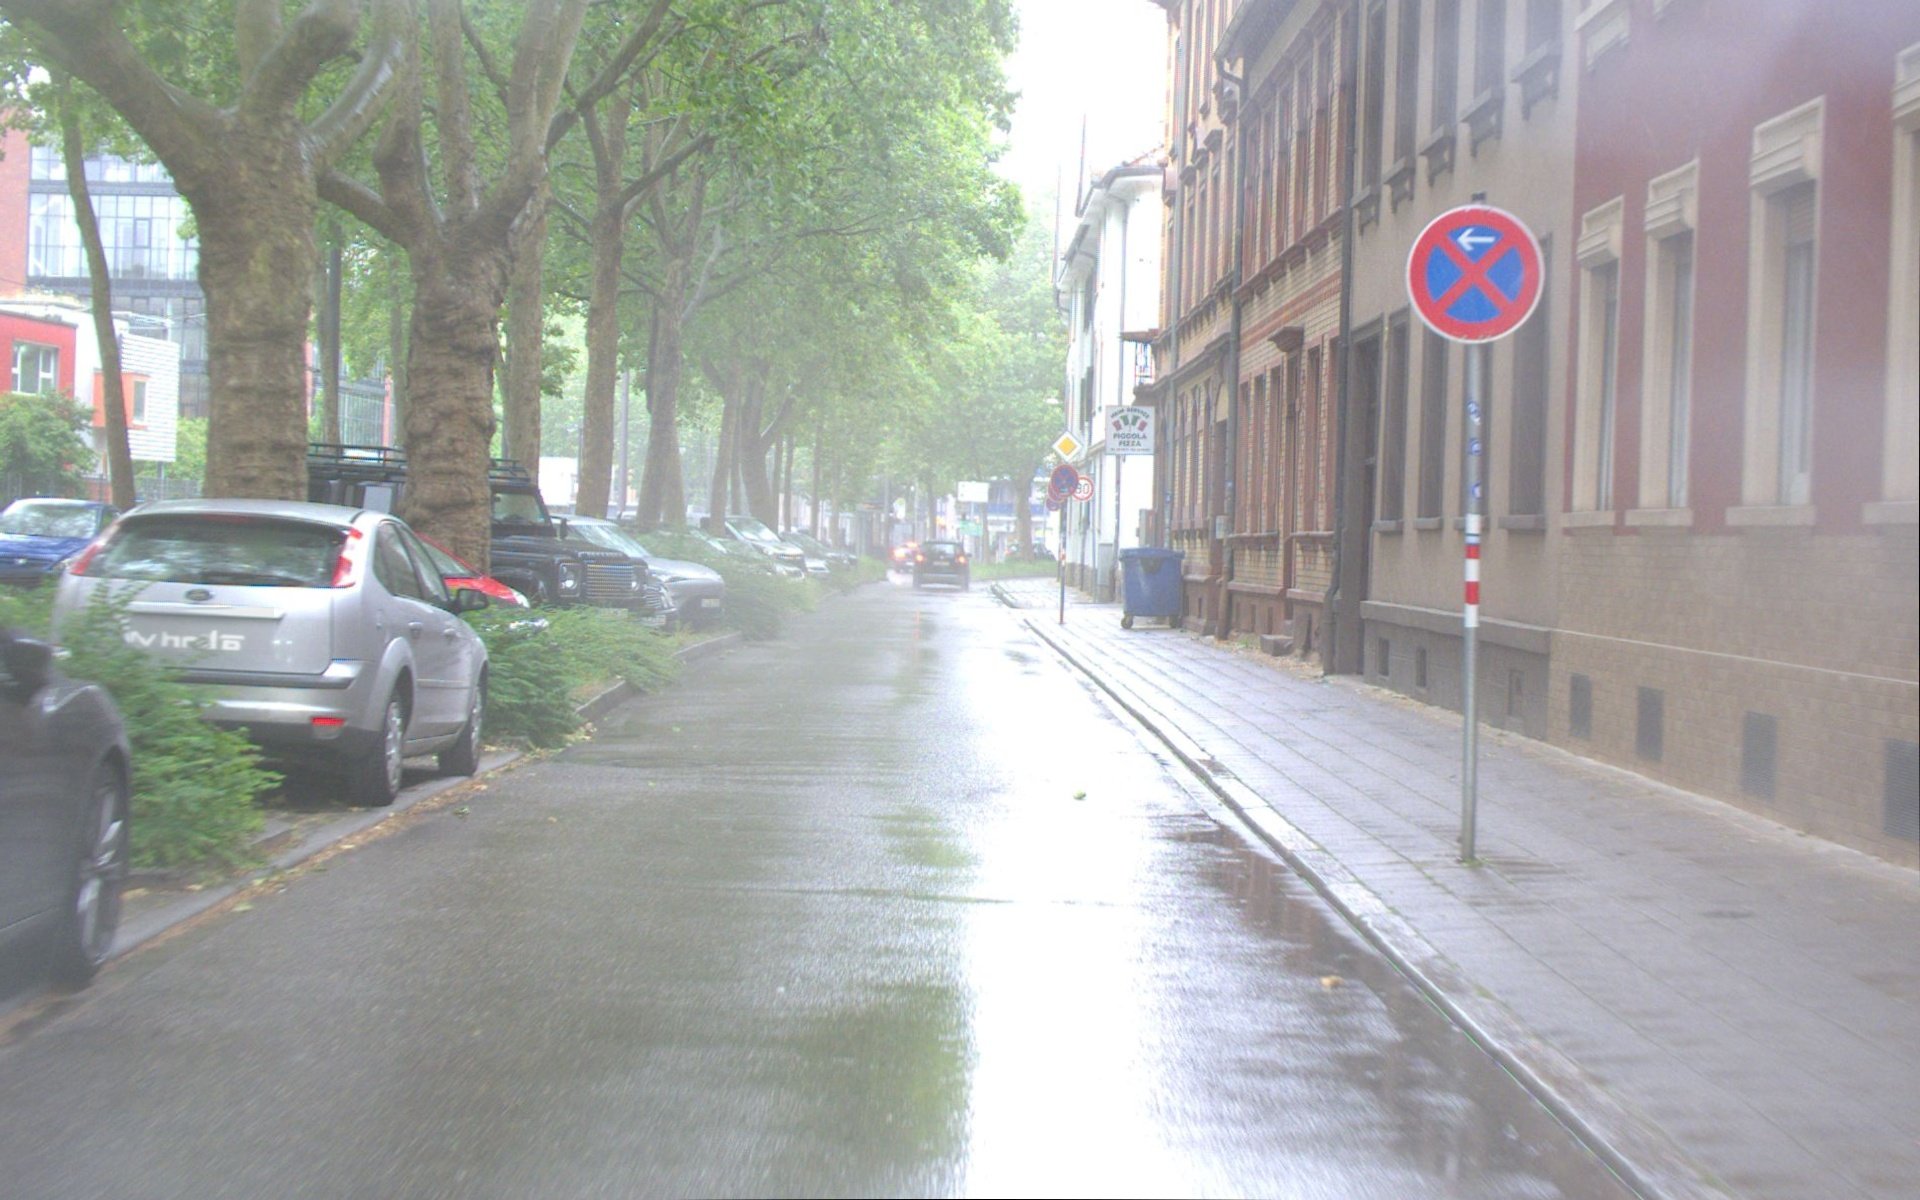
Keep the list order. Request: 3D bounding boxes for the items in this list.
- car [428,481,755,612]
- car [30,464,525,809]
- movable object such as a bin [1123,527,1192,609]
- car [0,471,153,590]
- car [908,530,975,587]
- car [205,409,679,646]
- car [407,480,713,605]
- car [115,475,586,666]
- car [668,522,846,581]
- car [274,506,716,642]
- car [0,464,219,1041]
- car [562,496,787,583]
[{"bbox_3d":[-5.041,-0.736,46.929,4.059,1.532,1.832,4,2,30],"label":"car"},{"bbox_3d":[-3.482,0.126,18.295,1.729,1.509,4.208,4,1,0],"label":"car"},{"bbox_3d":[3.218,-0.525,56.212,1.021,1.297,1.367,-1,2,-1],"label":"movable object such as a bin"},{"bbox_3d":[-12.733,-1.002,48.177,1.904,1.529,4.216,3,1,-2],"label":"car"},{"bbox_3d":[-0.599,-1.306,108.235,1.993,1.634,4.000,4,1,-1],"label":"car"},{"bbox_3d":[-5.423,-0.778,35.799,4.654,2.275,2.008,3,1,33],"label":"car"},{"bbox_3d":[-5.132,-0.744,44.199,3.504,1.462,1.640,3,1,21],"label":"car"},{"bbox_3d":[-5.118,-0.261,28.865,3.497,1.431,1.779,3,1,27],"label":"car"},{"bbox_3d":[-5.490,-1.310,92.756,4.554,1.477,1.772,2,1,30],"label":"car"},{"bbox_3d":[-5.234,-0.309,38.577,4.652,1.321,1.844,3,1,27],"label":"car"},{"bbox_3d":[-3.367,0.333,8.773,1.896,1.480,4.622,4,1,0],"label":"car"},{"bbox_3d":[-6.937,-1.465,83.271,5.124,1.970,2.099,2,1,31],"label":"car"}]
